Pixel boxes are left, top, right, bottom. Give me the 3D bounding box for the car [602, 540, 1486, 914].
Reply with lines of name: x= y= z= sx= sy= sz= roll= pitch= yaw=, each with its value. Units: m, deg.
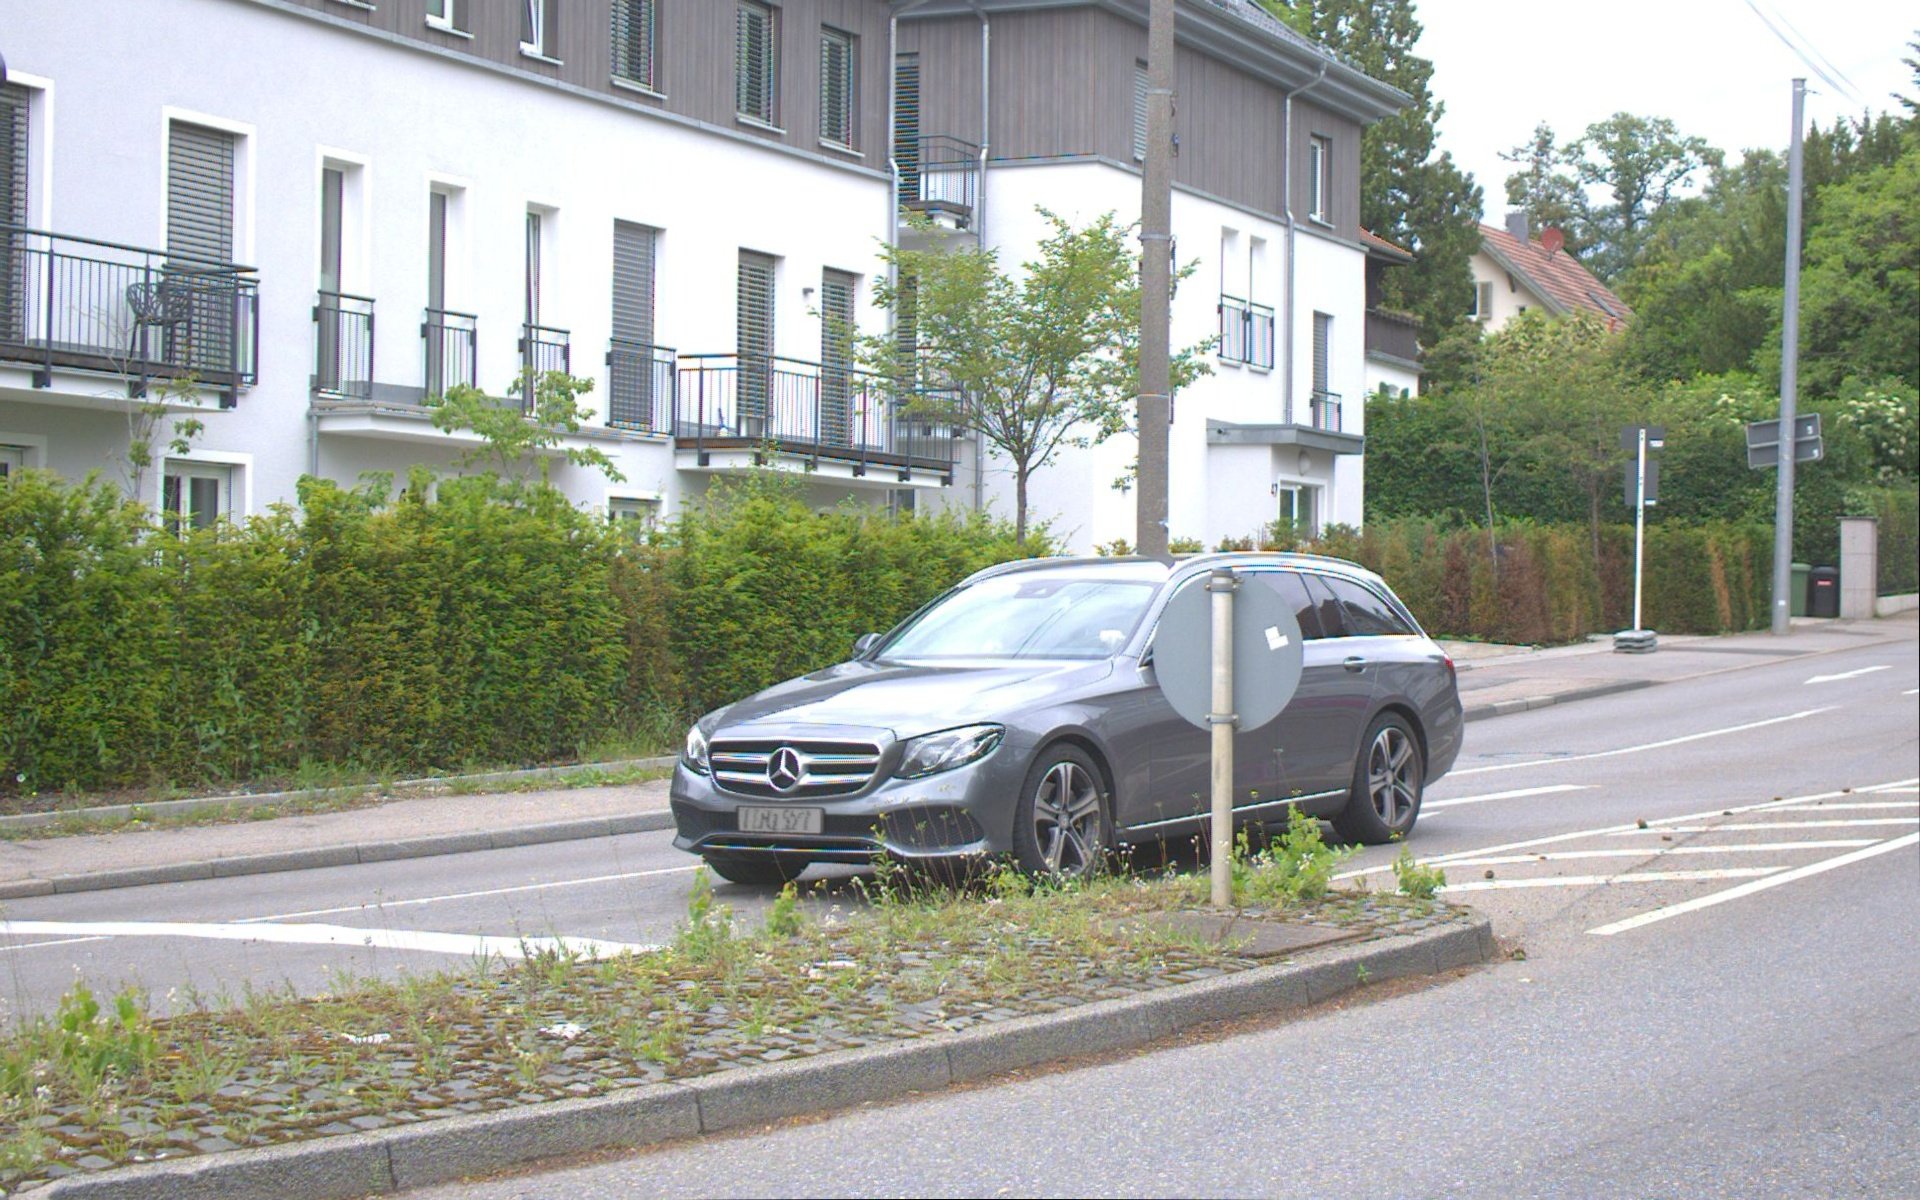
car: x=0.580 y=0.488 z=16.463 sx=1.829 sy=1.480 sz=4.738 roll=0 pitch=1 yaw=36
